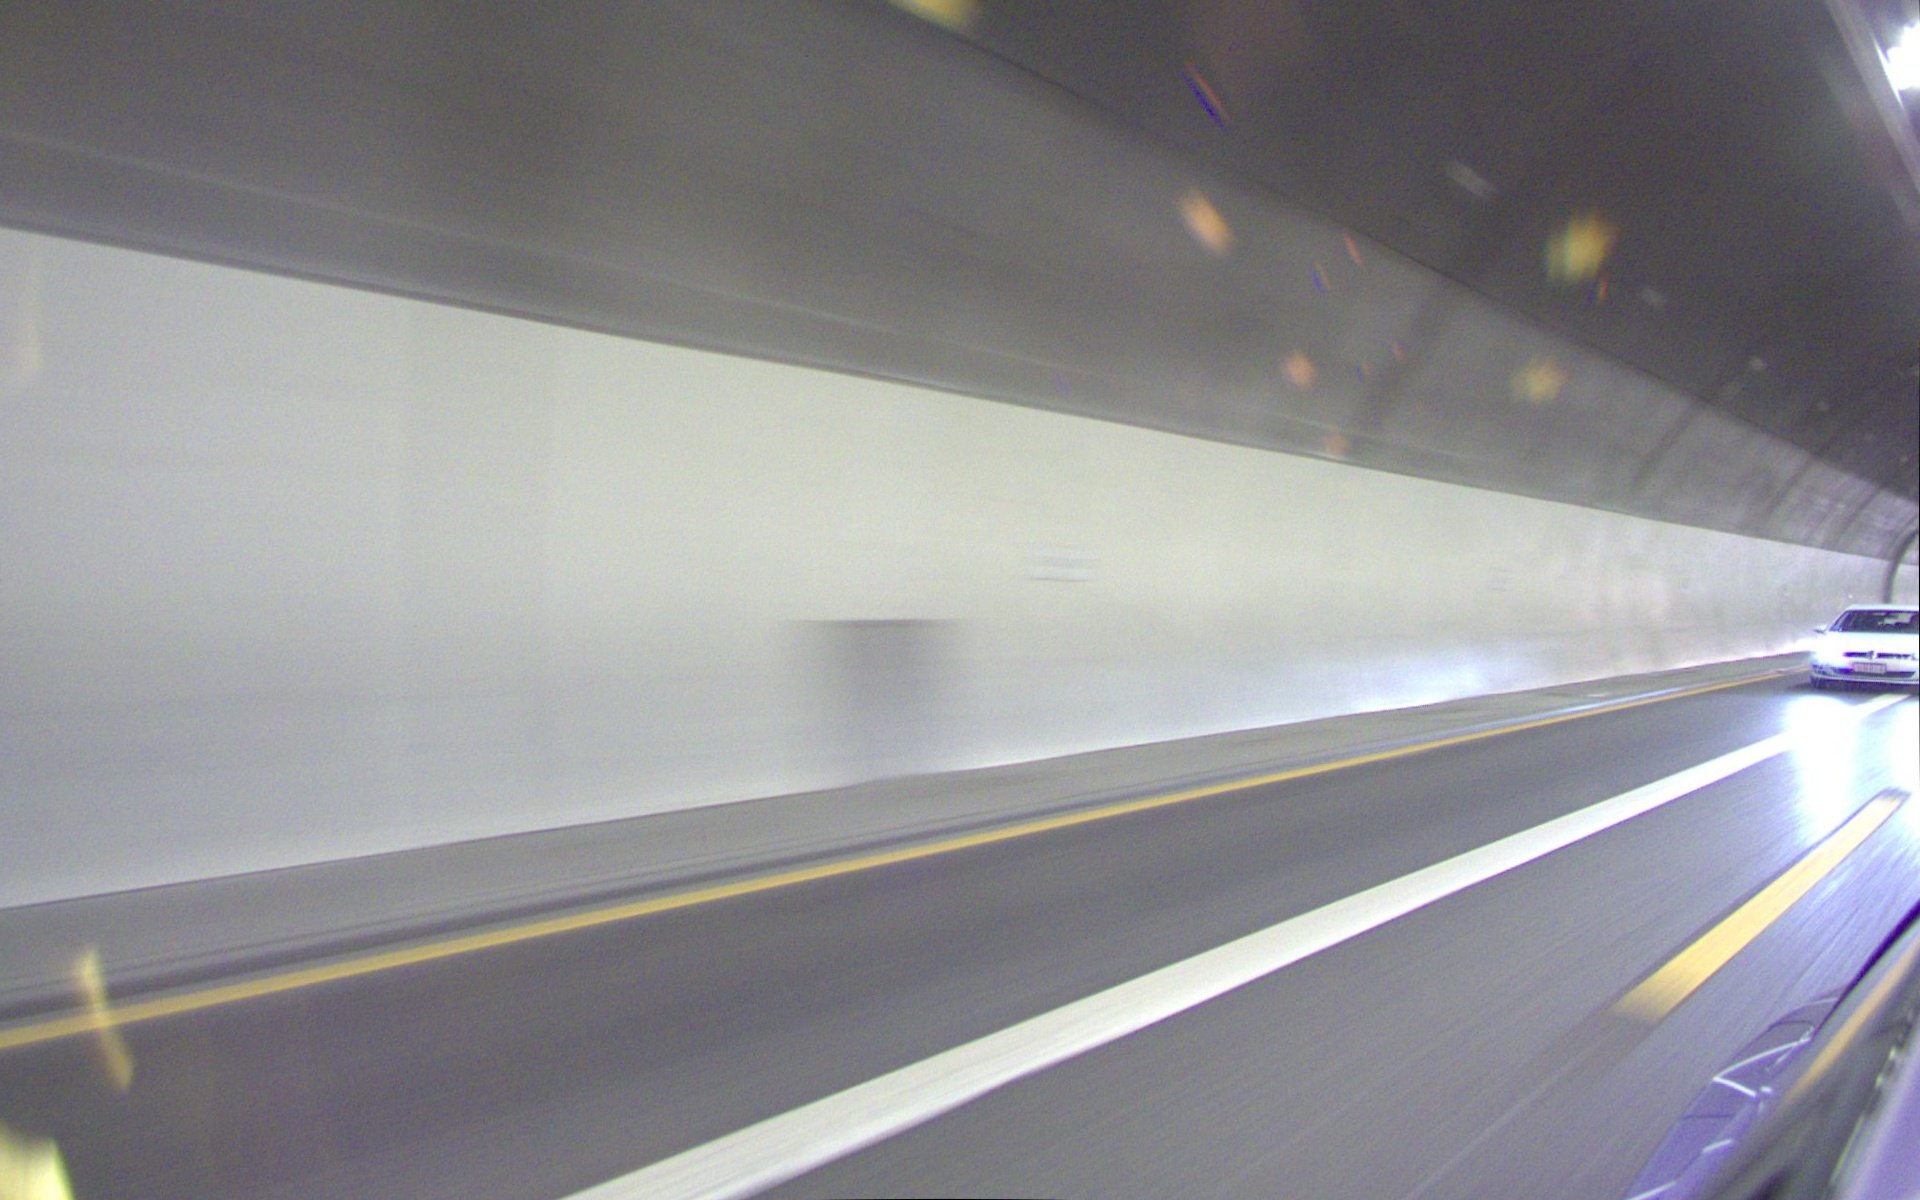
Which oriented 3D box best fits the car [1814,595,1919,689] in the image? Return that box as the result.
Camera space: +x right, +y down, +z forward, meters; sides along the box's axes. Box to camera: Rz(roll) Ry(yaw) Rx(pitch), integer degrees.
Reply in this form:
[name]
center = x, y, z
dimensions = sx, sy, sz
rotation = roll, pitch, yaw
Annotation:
[car]
center = 16.355, 0.657, 17.462
dimensions = 3.962, 1.479, 1.801
rotation = 0, 0, -39
